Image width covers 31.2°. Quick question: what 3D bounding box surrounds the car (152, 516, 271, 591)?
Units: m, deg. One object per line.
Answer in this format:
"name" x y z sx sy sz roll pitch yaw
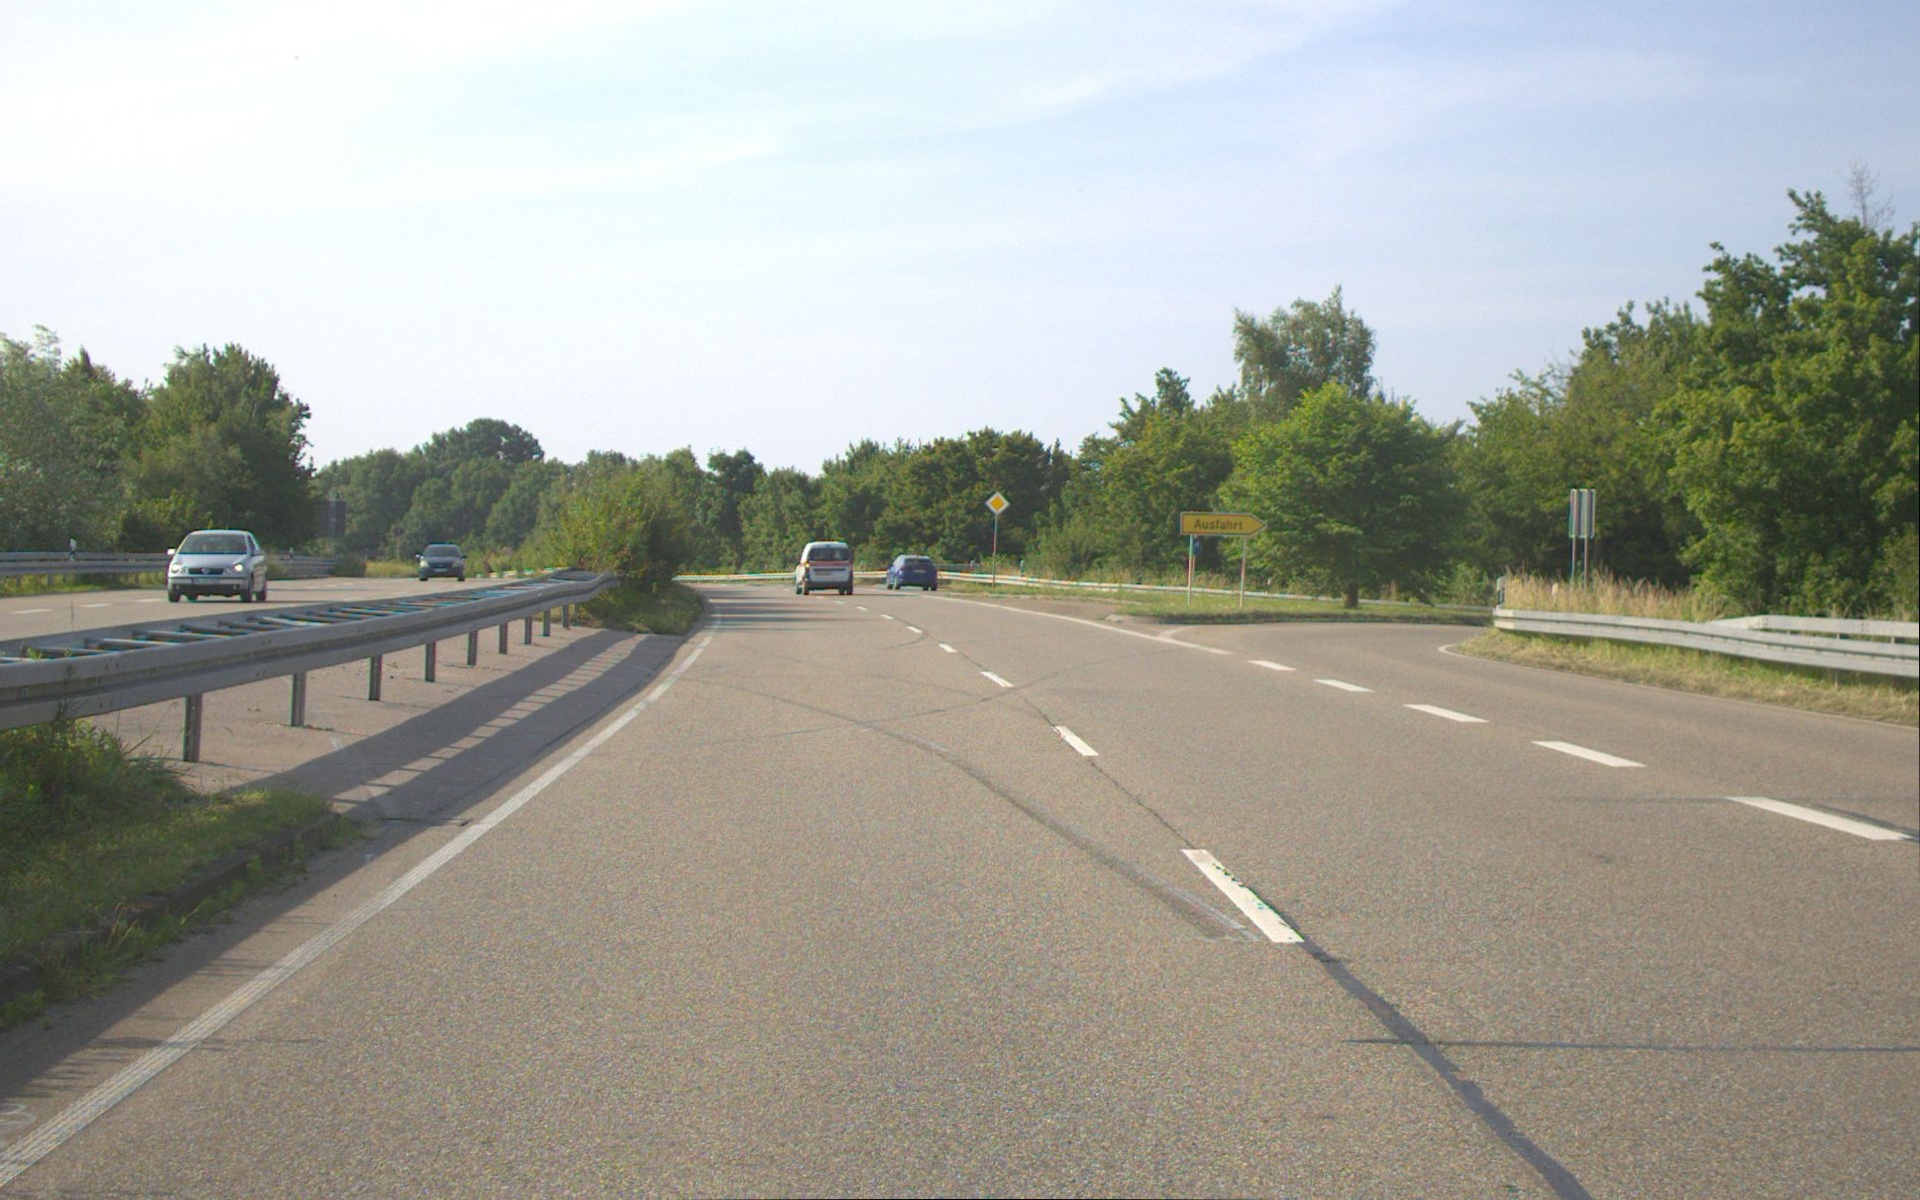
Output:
"car" -15.095 -0.922 69.493 1.639 1.416 4.000 1 0 -2

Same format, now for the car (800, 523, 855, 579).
"car" -4.558 -1.656 117.623 1.765 1.875 4.000 1 0 -4

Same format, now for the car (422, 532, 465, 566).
"car" -20.268 -1.979 134.932 1.488 1.293 3.268 1 0 -5

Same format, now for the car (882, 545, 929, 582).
"car" -2.313 -1.533 144.886 1.779 1.447 4.000 0 0 -4
